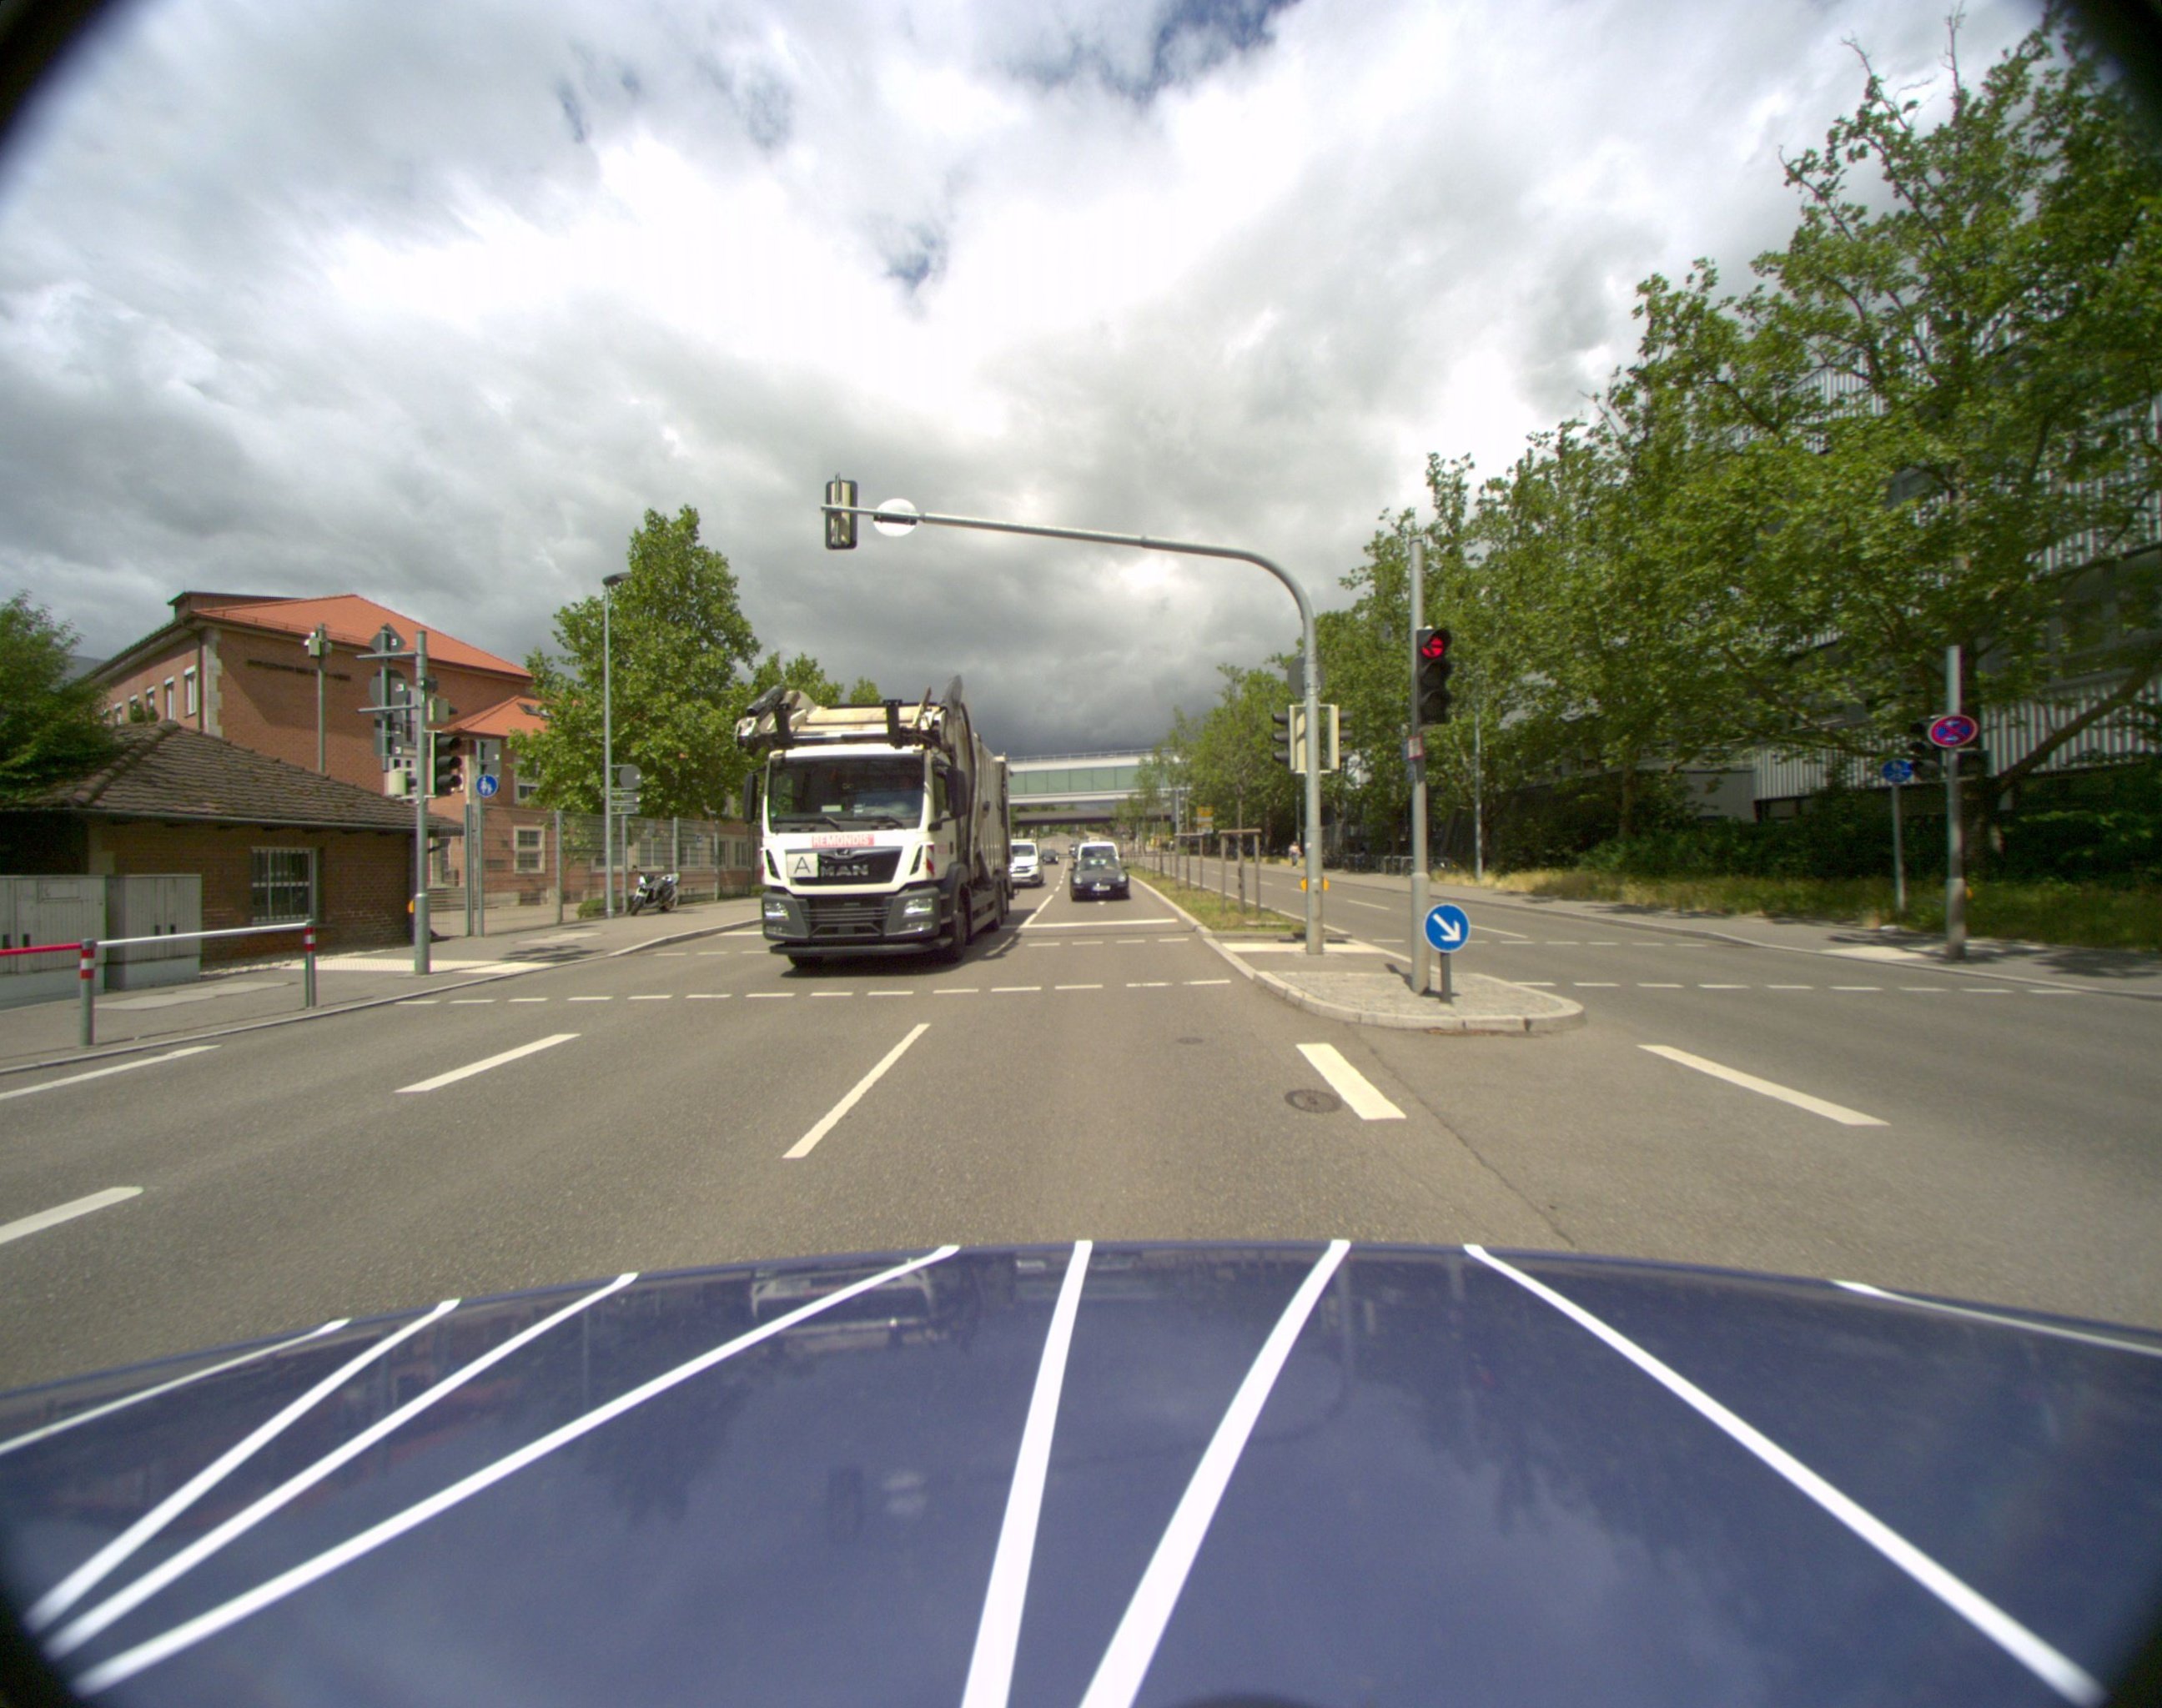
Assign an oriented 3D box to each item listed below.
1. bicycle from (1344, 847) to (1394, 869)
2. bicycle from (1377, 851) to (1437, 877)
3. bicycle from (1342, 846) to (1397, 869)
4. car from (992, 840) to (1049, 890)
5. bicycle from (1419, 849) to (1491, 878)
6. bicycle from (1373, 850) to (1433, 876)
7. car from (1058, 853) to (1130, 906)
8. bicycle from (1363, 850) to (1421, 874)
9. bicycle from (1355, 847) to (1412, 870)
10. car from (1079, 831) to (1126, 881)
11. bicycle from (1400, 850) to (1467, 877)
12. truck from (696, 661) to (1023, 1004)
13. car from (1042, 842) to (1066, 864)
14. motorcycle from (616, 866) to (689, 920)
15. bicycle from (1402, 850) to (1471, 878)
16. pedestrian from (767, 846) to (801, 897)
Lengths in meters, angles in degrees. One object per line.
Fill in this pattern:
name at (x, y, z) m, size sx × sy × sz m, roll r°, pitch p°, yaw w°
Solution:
bicycle at (15.378, 0.210, 40.532) m, size 2.413 × 1.079 × 0.615 m, roll -2°, pitch 1°, yaw 0°
bicycle at (15.018, 0.468, 35.018) m, size 2.564 × 1.079 × 0.615 m, roll -2°, pitch 1°, yaw -8°
bicycle at (15.061, 0.182, 39.727) m, size 2.561 × 1.079 × 0.616 m, roll -2°, pitch 1°, yaw 6°
car at (-2.547, 0.394, 32.884) m, size 1.871 × 1.944 × 4.711 m, roll -3°, pitch 1°, yaw 2°
bicycle at (15.147, 0.368, 30.824) m, size 2.561 × 1.079 × 0.616 m, roll -2°, pitch 1°, yaw 6°
bicycle at (15.224, 0.417, 35.944) m, size 2.563 × 1.079 × 0.615 m, roll -2°, pitch 1°, yaw -2°
car at (0.488, 0.693, 22.752) m, size 1.838 × 1.318 × 4.001 m, roll -3°, pitch 1°, yaw 5°
bicycle at (15.112, 0.395, 36.941) m, size 2.562 × 1.079 × 0.615 m, roll -2°, pitch 1°, yaw -1°
bicycle at (15.361, 0.213, 38.639) m, size 2.560 × 1.079 × 0.616 m, roll -2°, pitch 1°, yaw 13°
car at (0.916, 0.130, 32.587) m, size 1.824 × 2.001 × 4.392 m, roll -1°, pitch -1°, yaw 1°
bicycle at (15.305, 0.420, 33.073) m, size 2.561 × 1.079 × 0.616 m, roll -2°, pitch 1°, yaw 8°
truck at (-2.969, -0.303, 14.165) m, size 2.713 × 3.863 × 10.739 m, roll -2°, pitch 1°, yaw 0°
car at (-2.572, -0.153, 73.178) m, size 1.871 × 1.944 × 4.711 m, roll -3°, pitch 1°, yaw 2°
motorcycle at (-10.776, 0.943, 19.198) m, size 0.570 × 1.219 × 2.175 m, roll 0°, pitch 1°, yaw 1°
bicycle at (14.967, 0.423, 32.047) m, size 2.561 × 1.079 × 0.616 m, roll -2°, pitch 1°, yaw 6°
pedestrian at (-10.750, 0.617, 27.547) m, size 0.729 × 1.756 × 1.015 m, roll -2°, pitch 1°, yaw 0°
